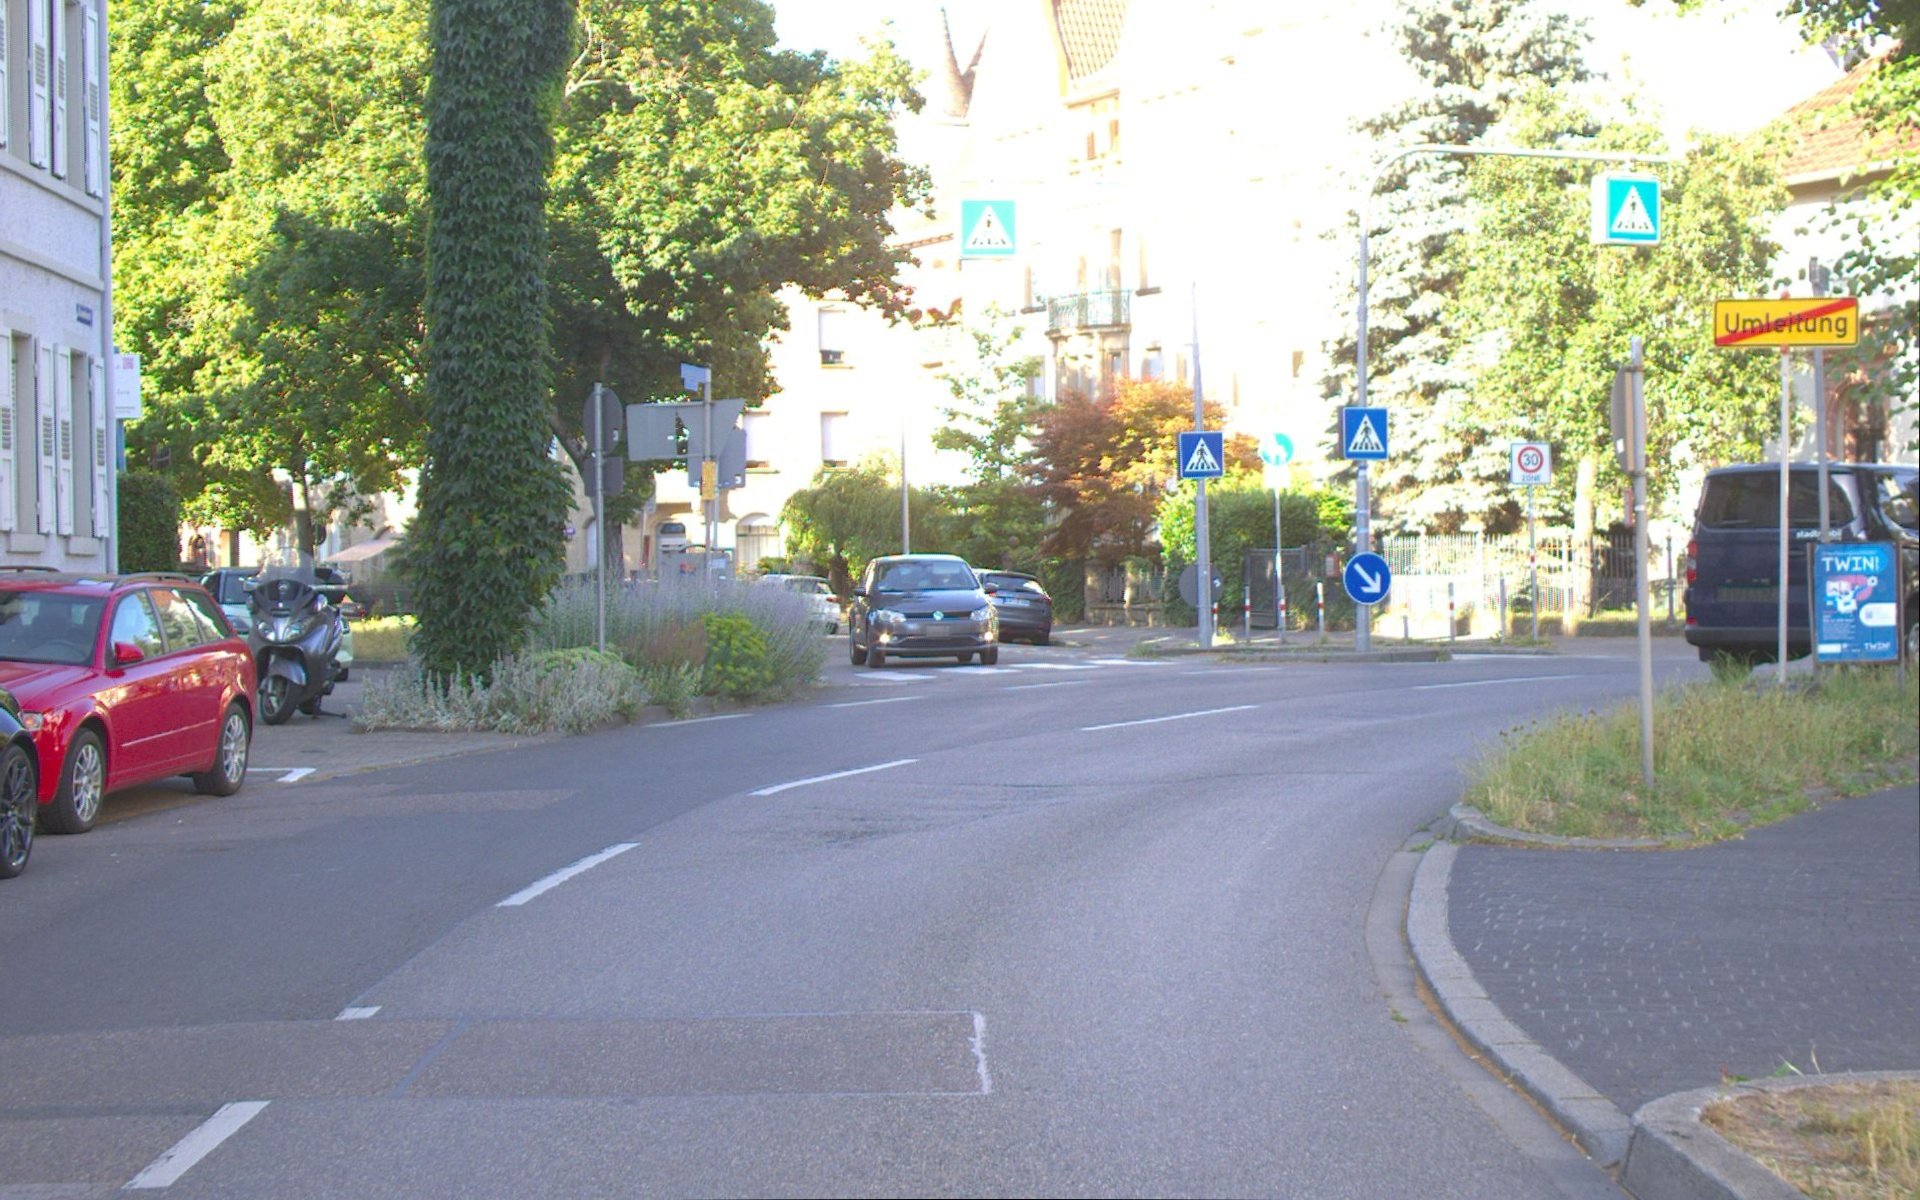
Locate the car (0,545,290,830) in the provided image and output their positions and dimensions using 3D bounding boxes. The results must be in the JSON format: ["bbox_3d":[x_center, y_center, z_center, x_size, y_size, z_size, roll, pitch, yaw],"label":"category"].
[{"bbox_3d":[-5.640,0.440,21.083,1.709,1.461,4.591,1,2,6],"label":"car"}]

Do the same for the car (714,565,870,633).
[{"bbox_3d":[-4.093,-0.047,82.876,2.339,1.590,4.931,0,0,-21],"label":"car"}]

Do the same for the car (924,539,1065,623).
[{"bbox_3d":[0.648,-0.380,67.417,1.993,1.590,4.001,0,0,-11],"label":"car"}]

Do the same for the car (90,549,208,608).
[{"bbox_3d":[-28.292,-0.752,119.814,2.340,2.034,4.929,0,1,-35],"label":"car"}]

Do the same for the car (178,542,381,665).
[{"bbox_3d":[-8.941,0.021,44.983,1.807,1.531,3.911,0,0,-24],"label":"car"}]

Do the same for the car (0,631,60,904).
[{"bbox_3d":[-5.382,0.787,15.130,1.664,1.269,4.026,1,0,2],"label":"car"}]

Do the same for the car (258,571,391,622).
[{"bbox_3d":[-20.379,-0.133,110.106,2.340,1.590,4.929,0,1,-35],"label":"car"}]

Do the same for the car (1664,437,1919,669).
[{"bbox_3d":[7.977,-0.458,31.943,1.996,2.007,3.995,0,1,24],"label":"car"}]

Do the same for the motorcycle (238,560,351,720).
[{"bbox_3d":[-5.895,0.324,30.357,0.930,1.353,2.565,0,0,-12],"label":"motorcycle"}]

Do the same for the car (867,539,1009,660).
[{"bbox_3d":[-0.297,-0.044,44.823,1.712,1.398,3.738,-3,2,-1],"label":"car"}]
